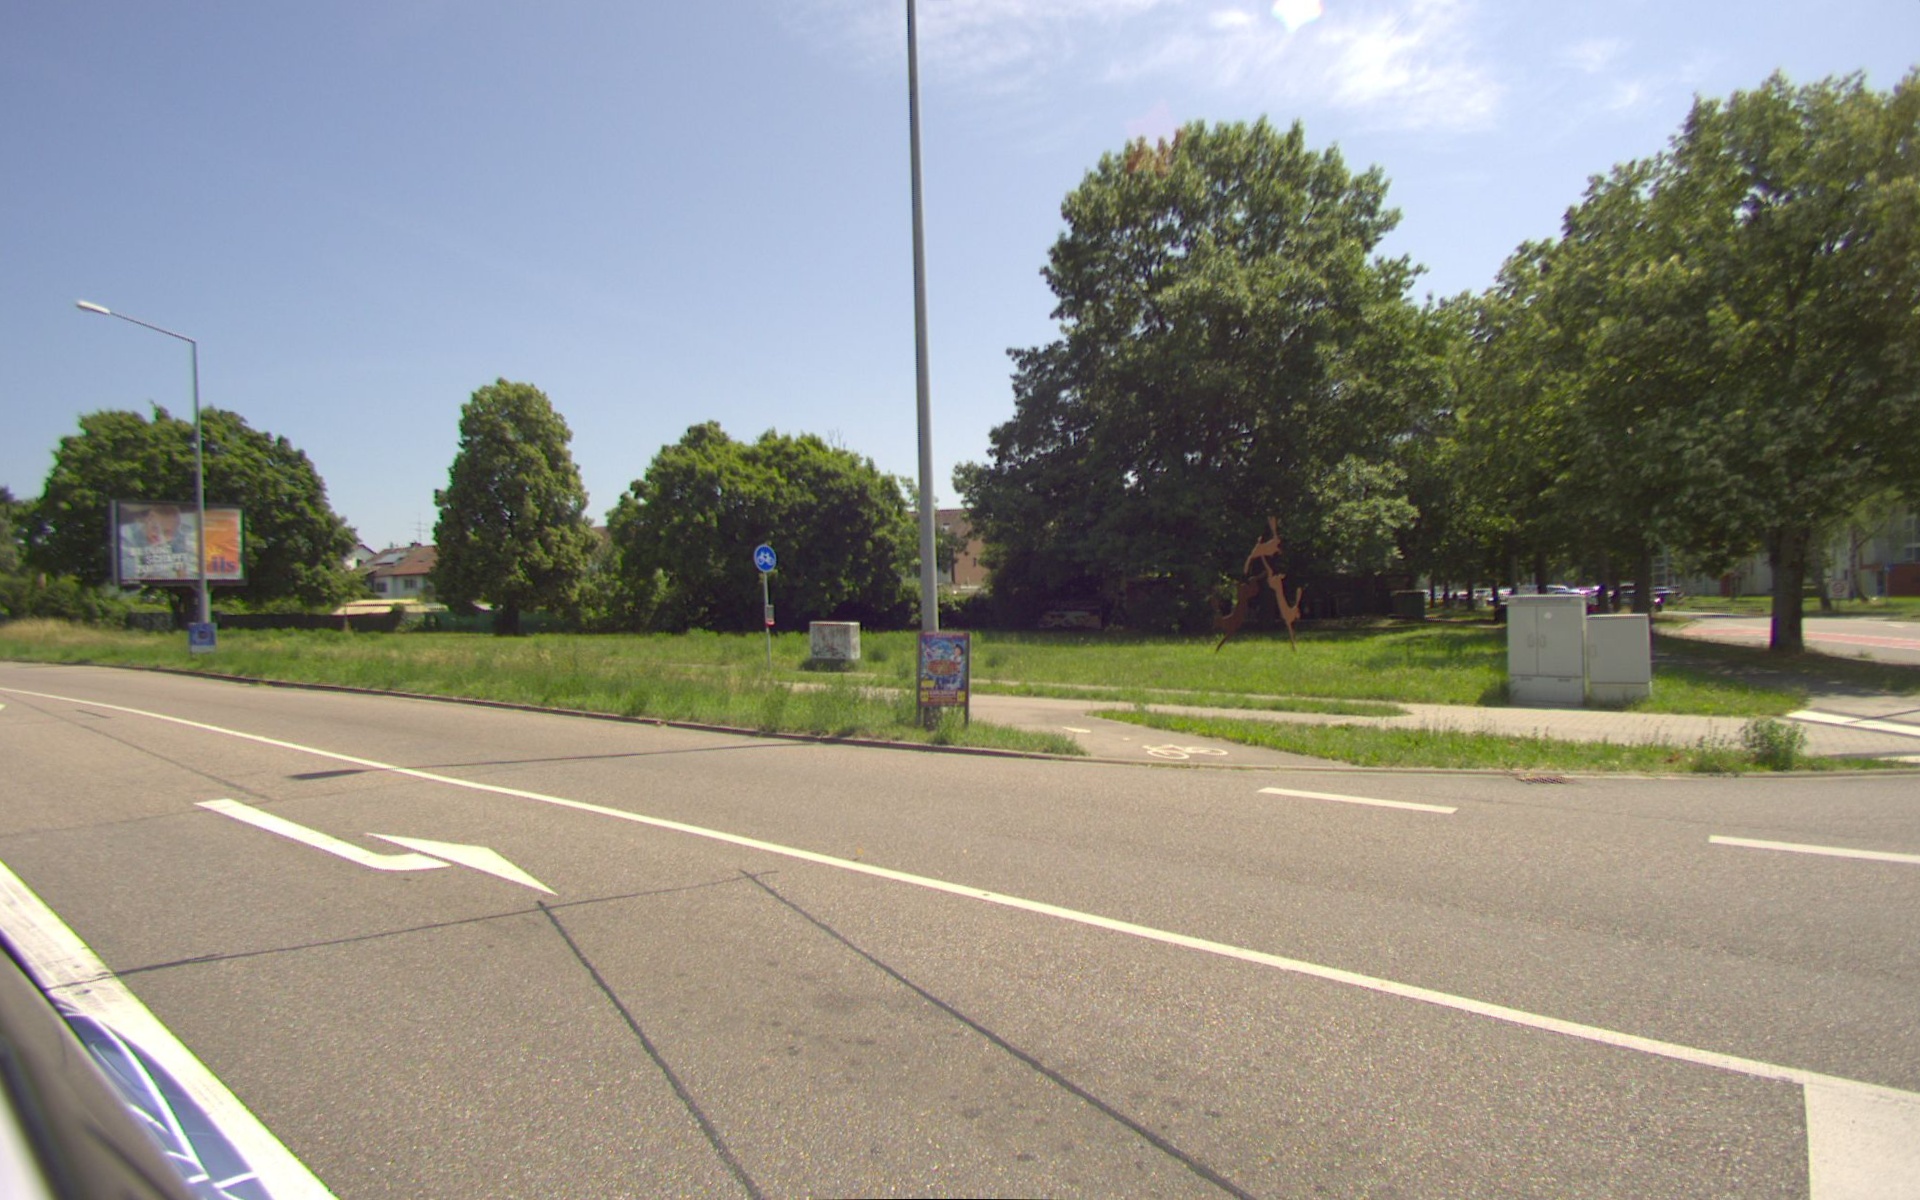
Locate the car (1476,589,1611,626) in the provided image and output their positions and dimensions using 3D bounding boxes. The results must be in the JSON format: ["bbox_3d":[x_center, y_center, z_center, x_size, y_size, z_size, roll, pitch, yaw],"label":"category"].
[{"bbox_3d":[24.999,0.344,43.521,1.966,1.479,4.597,-1,-1,-32],"label":"car"}]

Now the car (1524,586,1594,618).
[{"bbox_3d":[42.790,0.127,72.395,3.971,2.028,1.987,-2,3,21],"label":"car"}]

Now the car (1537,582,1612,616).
[{"bbox_3d":[41.252,-0.079,68.015,3.971,2.028,1.987,-2,3,21],"label":"car"}]

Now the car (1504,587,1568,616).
[{"bbox_3d":[44.224,0.094,77.804,3.971,2.028,1.987,-2,3,21],"label":"car"}]
